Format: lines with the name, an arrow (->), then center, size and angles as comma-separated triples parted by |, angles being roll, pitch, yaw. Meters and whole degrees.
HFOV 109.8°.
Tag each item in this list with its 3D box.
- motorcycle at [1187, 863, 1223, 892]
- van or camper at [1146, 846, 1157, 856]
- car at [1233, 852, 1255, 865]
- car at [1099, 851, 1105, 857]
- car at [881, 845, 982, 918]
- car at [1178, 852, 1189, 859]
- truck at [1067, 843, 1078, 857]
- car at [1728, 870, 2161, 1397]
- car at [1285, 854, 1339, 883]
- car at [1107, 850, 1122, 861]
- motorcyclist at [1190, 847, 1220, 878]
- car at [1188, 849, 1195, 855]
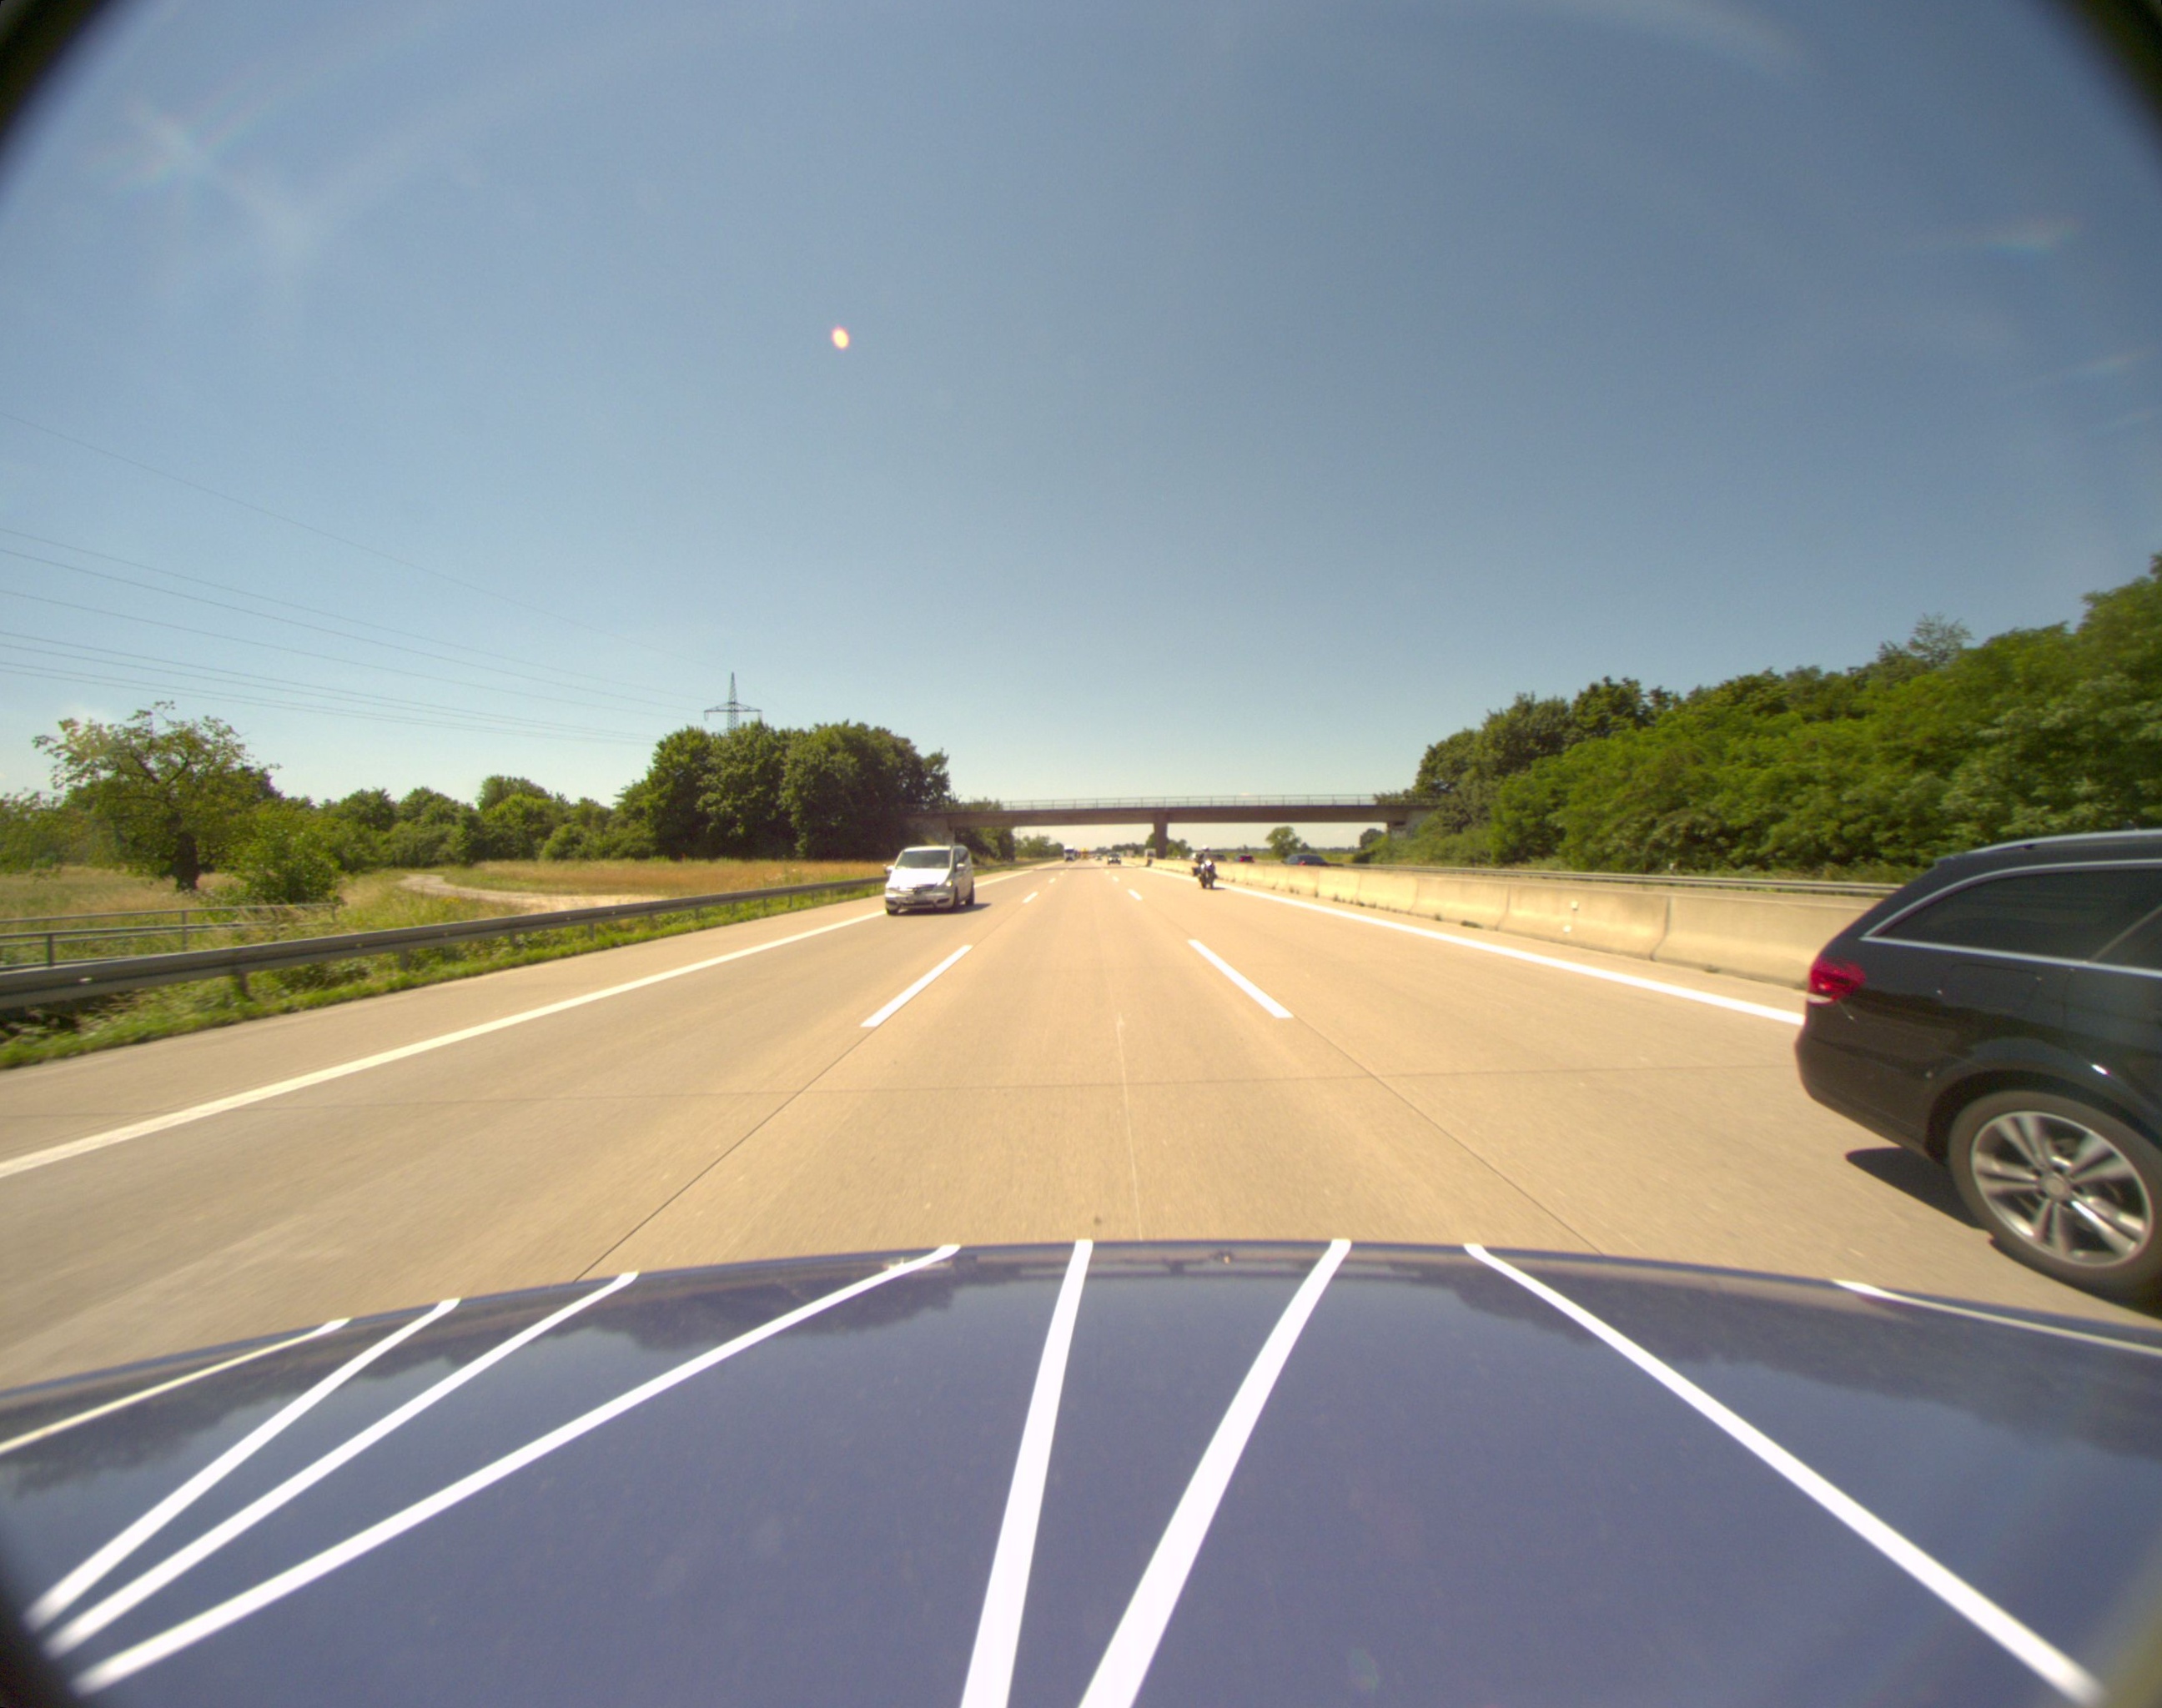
motorcycle -> 4.848, 0.893, 29.866 | 1.024, 1.042, 2.413 | -2, 0, 1
van or camper -> 18.234, -0.866, 196.814 | 2.254, 2.429, 7.801 | -2, 0, 0
car -> 17.467, 0.483, 81.609 | 1.569, 1.311, 3.632 | -1, 0, -1
car -> 5.521, -0.114, 201.156 | 1.586, 1.527, 3.611 | -1, 0, 0
car -> -4.284, 0.726, 22.645 | 1.884, 1.878, 5.279 | -1, 0, 0
car -> 18.628, 0.222, 137.988 | 1.569, 1.311, 3.632 | -1, 0, 0
truck -> -2.269, -1.087, 198.804 | 2.570, 3.514, 10.099 | -1, 0, 1
car -> 4.046, 0.823, 0.856 | 1.895, 1.465, 5.603 | -1, 0, 0
car -> 12.386, 0.739, 40.961 | 1.703, 1.408, 4.015 | -1, 0, 1
car -> 4.693, 0.216, 108.046 | 1.998, 1.518, 4.000 | -1, 0, 0
motorcyclist -> 4.866, 0.337, 29.869 | 1.027, 1.202, 0.911 | -1, 0, 1
car -> 27.821, -0.549, 191.224 | 1.401, 1.574, 3.102 | -1, 1, 1
